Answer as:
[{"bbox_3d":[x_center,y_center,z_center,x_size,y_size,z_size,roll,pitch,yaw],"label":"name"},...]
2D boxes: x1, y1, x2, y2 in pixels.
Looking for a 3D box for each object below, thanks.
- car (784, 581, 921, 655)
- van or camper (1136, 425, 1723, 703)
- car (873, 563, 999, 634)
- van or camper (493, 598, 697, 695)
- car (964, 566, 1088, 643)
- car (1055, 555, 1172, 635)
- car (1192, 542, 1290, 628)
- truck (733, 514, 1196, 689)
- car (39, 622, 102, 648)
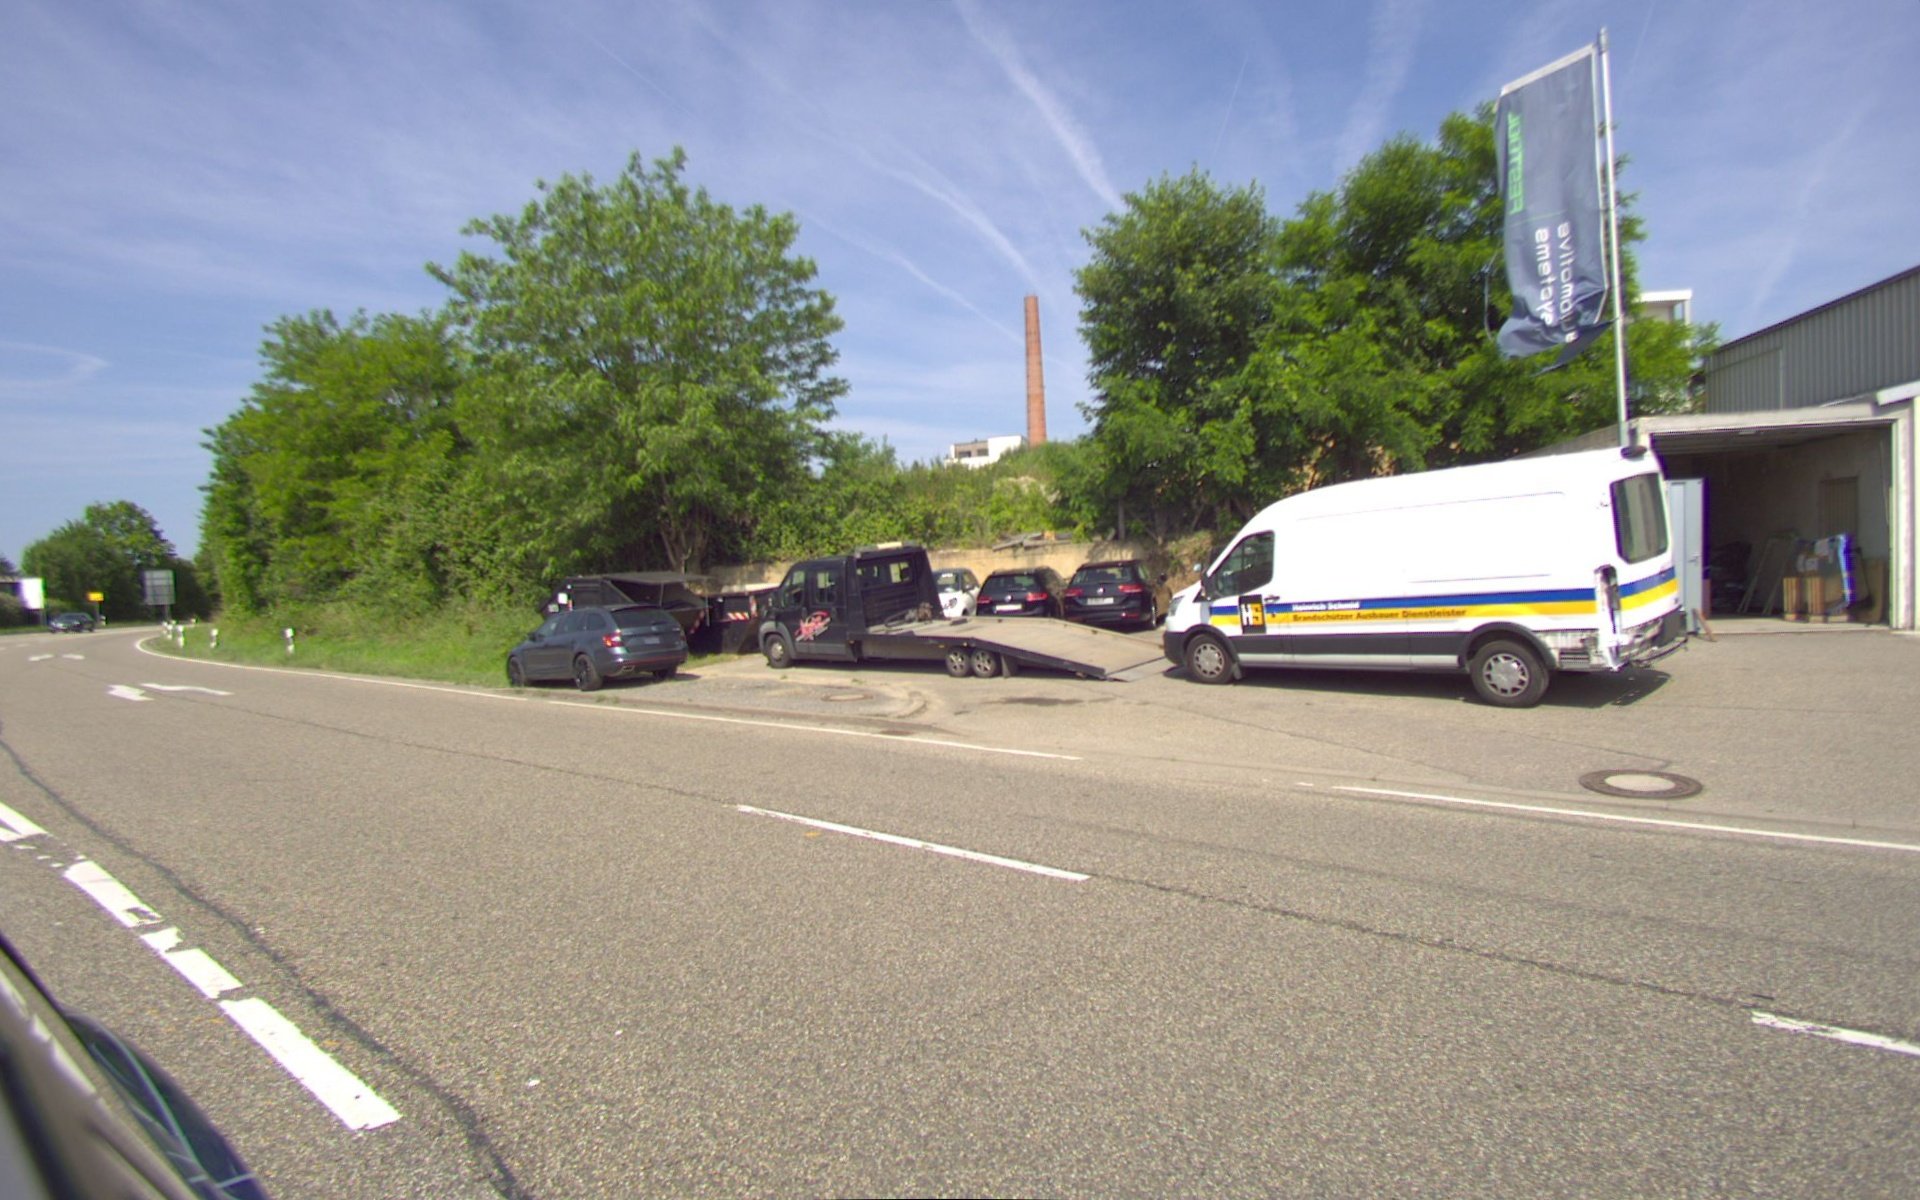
[{"bbox_3d":[-2.438,0.367,23.843,1.705,1.522,3.647,-2,1,21],"label":"car"},{"bbox_3d":[5.168,-0.394,12.145,2.128,2.517,5.961,-7,4,-38],"label":"van or camper"},{"bbox_3d":[-0.468,-0.075,23.513,1.726,1.480,3.648,-2,1,19],"label":"car"},{"bbox_3d":[-6.902,0.803,18.897,4.466,1.535,1.622,-1,2,42],"label":"van or camper"},{"bbox_3d":[1.513,0.042,21.927,1.726,1.480,3.648,-2,1,19],"label":"car"},{"bbox_3d":[3.277,-0.148,21.107,1.726,1.480,3.648,-2,1,19],"label":"car"},{"bbox_3d":[5.663,-0.318,20.657,1.723,1.541,3.655,-2,1,14],"label":"car"},{"bbox_3d":[-0.394,0.030,17.895,8.802,2.313,2.307,-1,6,43],"label":"truck"},{"bbox_3d":[-66.412,2.615,75.625,1.837,1.653,4.435,-3,1,-17],"label":"car"}]
